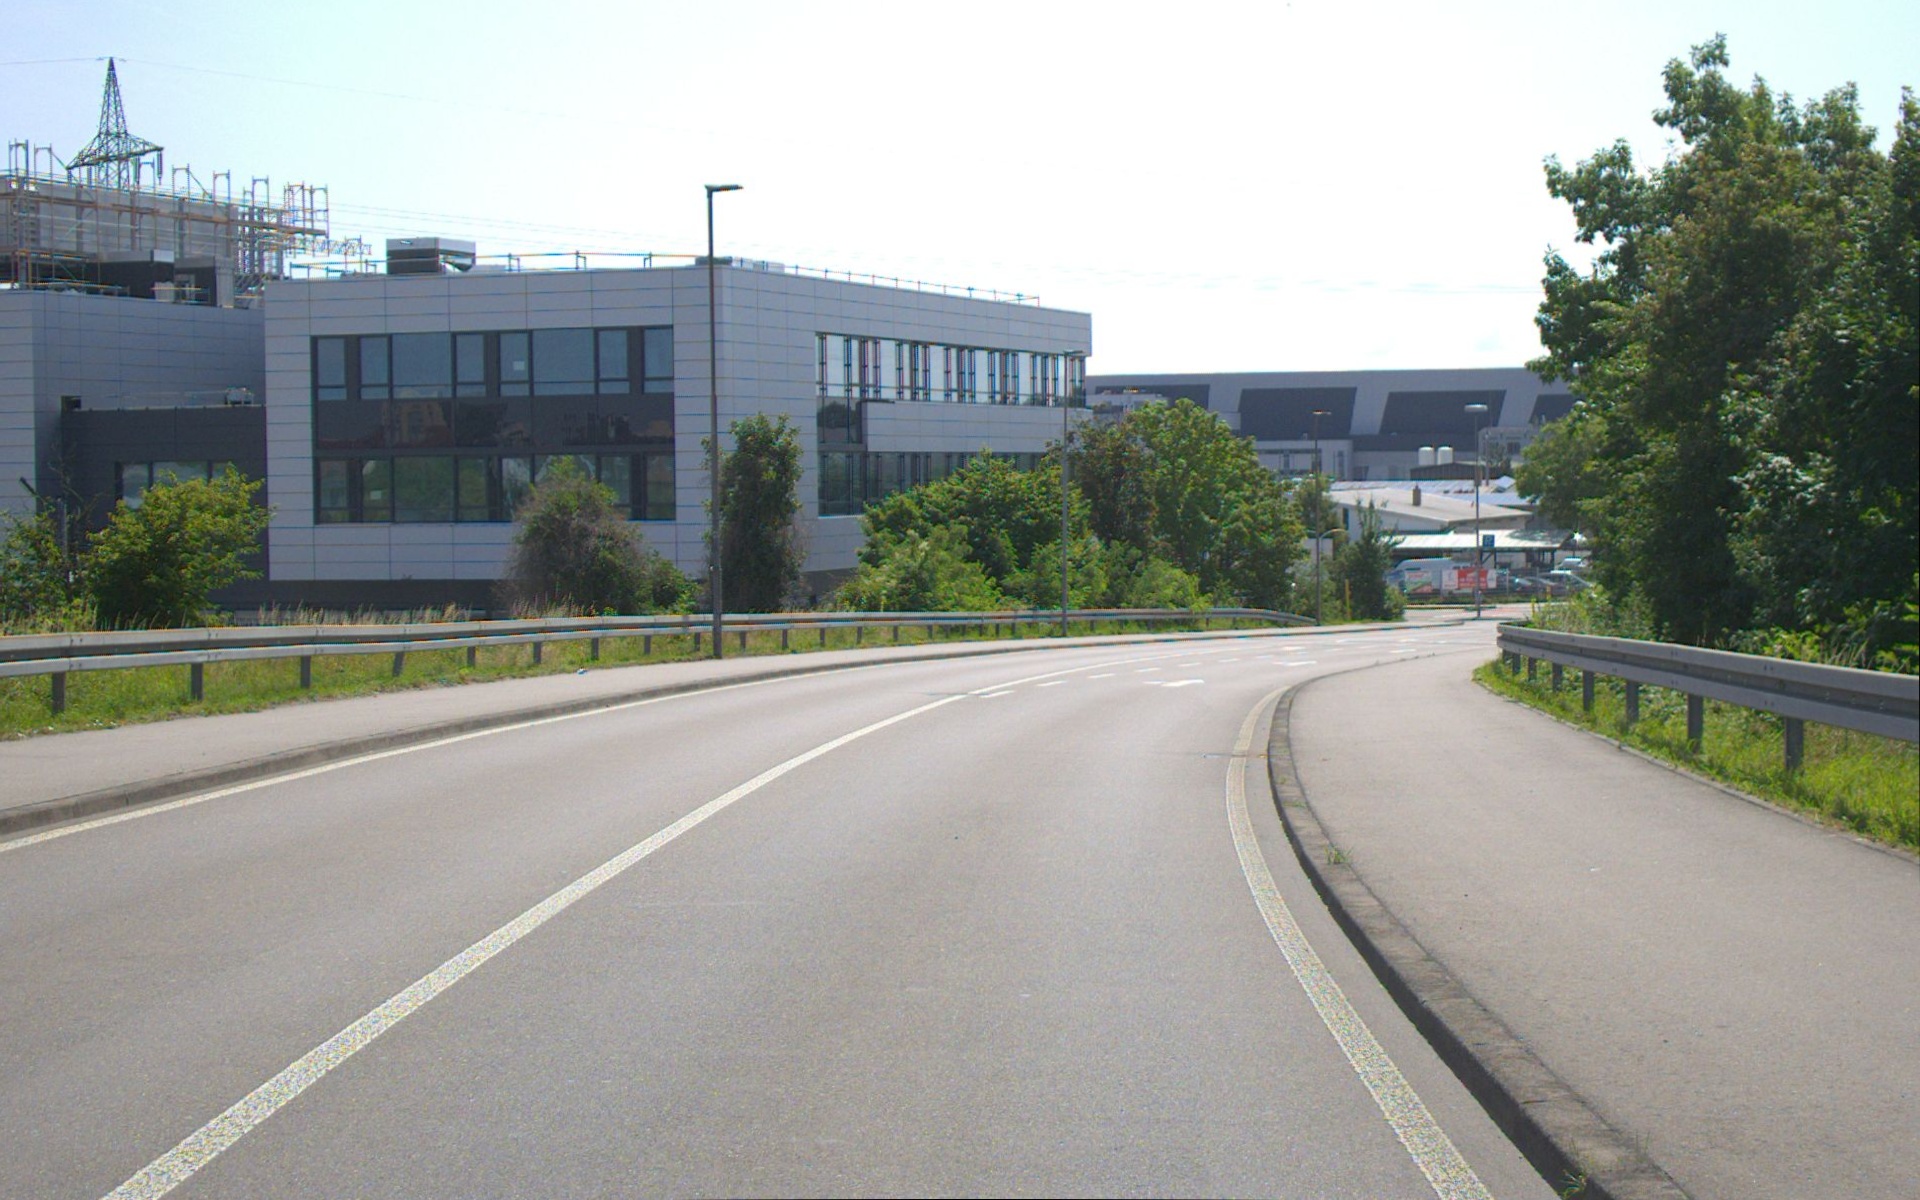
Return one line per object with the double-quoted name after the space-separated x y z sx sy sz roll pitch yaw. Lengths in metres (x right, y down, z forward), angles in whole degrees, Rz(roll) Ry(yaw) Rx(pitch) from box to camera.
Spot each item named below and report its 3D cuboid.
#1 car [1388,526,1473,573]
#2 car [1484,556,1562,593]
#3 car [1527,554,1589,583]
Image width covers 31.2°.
26.015 -2.802 190.127 1.994 2.599 4.363 0 1 -42 "car"
31.838 -1.470 194.447 1.995 1.897 3.998 -2 4 -43 "car"
39.279 -2.064 225.801 3.988 1.844 1.834 0 1 9 "car"
